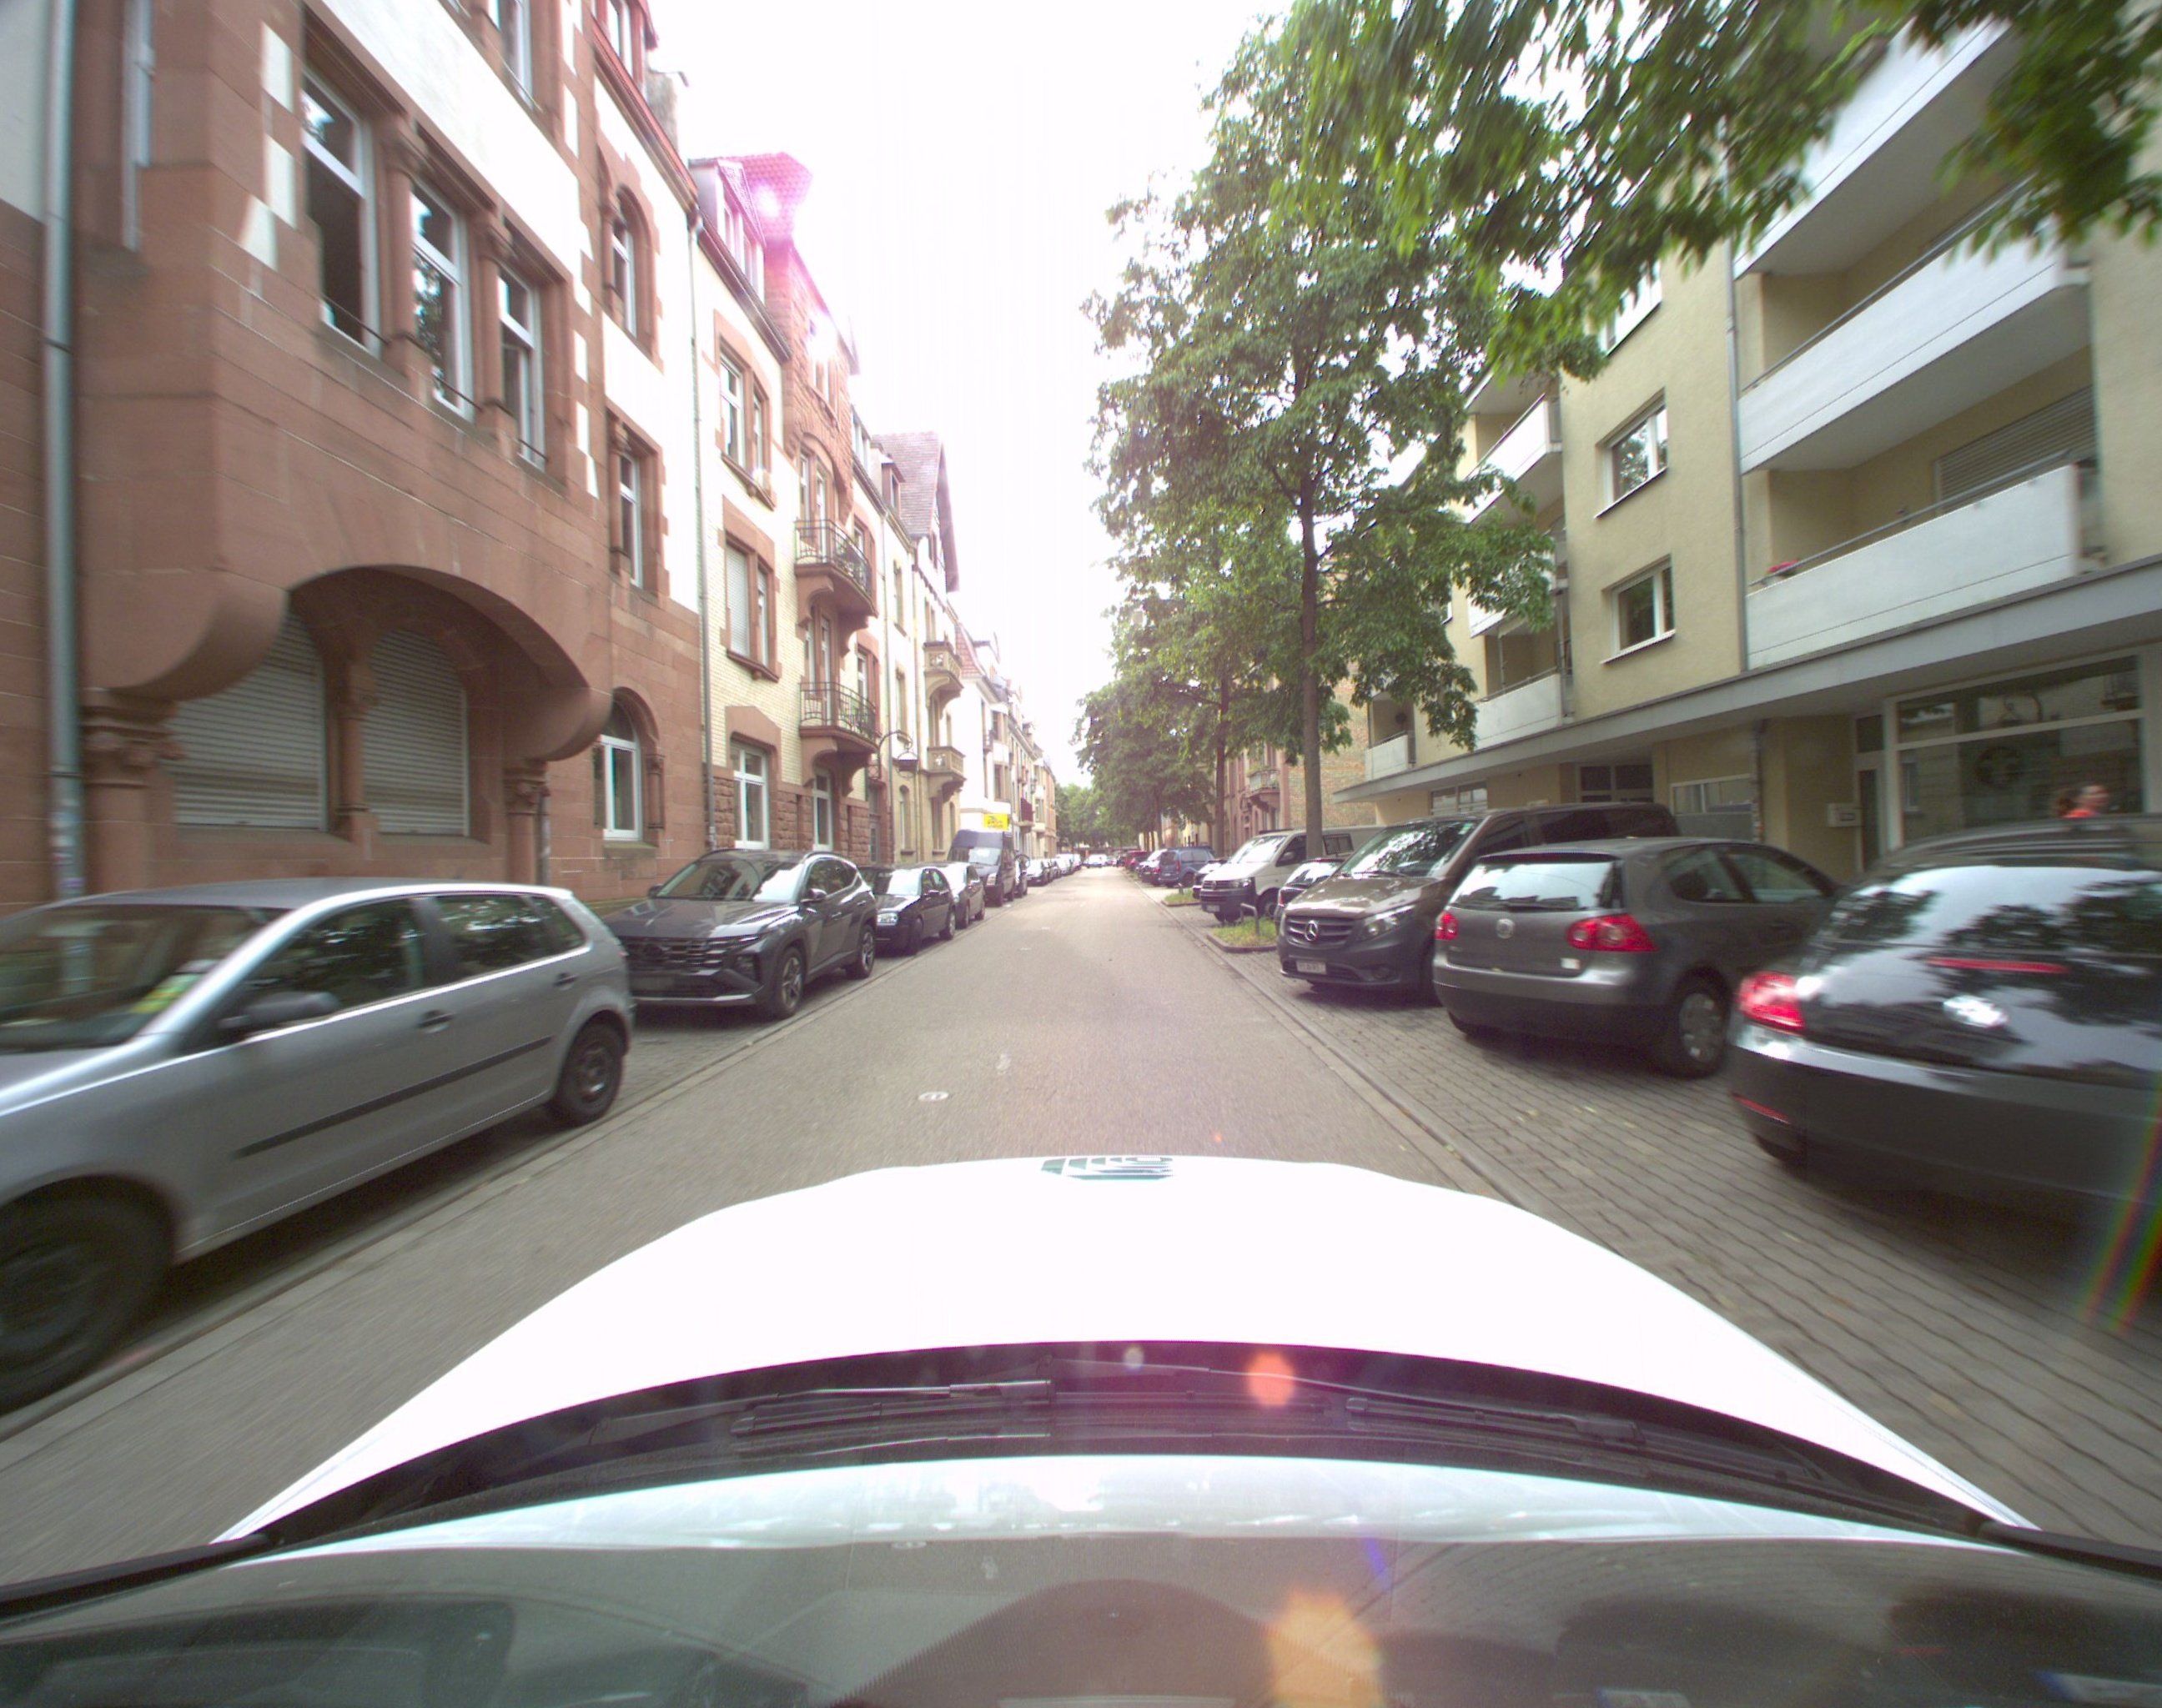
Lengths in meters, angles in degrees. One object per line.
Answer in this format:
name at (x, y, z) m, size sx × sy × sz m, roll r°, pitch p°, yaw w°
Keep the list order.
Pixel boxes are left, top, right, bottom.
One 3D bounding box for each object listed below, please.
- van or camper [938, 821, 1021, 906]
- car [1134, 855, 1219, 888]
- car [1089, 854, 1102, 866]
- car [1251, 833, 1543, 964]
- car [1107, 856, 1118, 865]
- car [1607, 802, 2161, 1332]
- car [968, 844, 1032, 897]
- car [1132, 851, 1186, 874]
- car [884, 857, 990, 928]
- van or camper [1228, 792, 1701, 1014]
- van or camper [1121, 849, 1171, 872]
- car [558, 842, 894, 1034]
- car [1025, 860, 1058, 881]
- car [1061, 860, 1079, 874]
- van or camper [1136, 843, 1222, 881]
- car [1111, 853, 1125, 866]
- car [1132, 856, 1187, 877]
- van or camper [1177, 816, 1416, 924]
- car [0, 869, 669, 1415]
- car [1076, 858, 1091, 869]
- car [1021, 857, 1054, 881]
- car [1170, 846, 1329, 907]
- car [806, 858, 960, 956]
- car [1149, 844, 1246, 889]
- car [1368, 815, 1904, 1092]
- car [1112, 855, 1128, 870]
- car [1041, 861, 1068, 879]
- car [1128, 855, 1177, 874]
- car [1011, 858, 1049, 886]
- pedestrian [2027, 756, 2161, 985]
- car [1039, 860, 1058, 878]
van or camper at (-3.401, 0.296, 28.275) m, size 2.000 × 2.651 × 5.318 m, roll 1°, pitch 0°, yaw 2°
car at (4.962, 0.890, 42.213) m, size 4.035 × 1.559 × 1.867 m, roll -1°, pitch -1°, yaw -30°
car at (2.047, 0.858, 112.411) m, size 1.814 × 1.645 × 3.754 m, roll 0°, pitch -1°, yaw 1°
car at (4.677, 0.563, 11.965) m, size 4.021 × 1.444 × 1.824 m, roll -4°, pitch 0°, yaw -30°
car at (5.390, 1.141, 140.120) m, size 1.863 × 1.530 × 4.001 m, roll -1°, pitch 0°, yaw 1°
car at (4.610, 0.526, 3.622) m, size 4.060 × 1.483 × 1.931 m, roll -3°, pitch -1°, yaw -26°
car at (-3.272, 0.656, 33.955) m, size 1.986 × 2.013 × 4.893 m, roll -1°, pitch 0°, yaw 2°
car at (5.845, 0.646, 61.330) m, size 3.753 × 1.465 × 1.727 m, roll -3°, pitch 0°, yaw -4°
car at (-3.255, 0.860, 19.183) m, size 1.661 × 1.473 × 4.001 m, roll 0°, pitch -1°, yaw 2°
van or camper at (4.404, 0.377, 9.247) m, size 5.033 × 1.869 × 2.109 m, roll -3°, pitch -1°, yaw -26°
van or camper at (6.049, 0.610, 75.782) m, size 4.169 × 2.086 × 1.936 m, roll -1°, pitch 0°, yaw -27°
car at (-3.566, 0.730, 9.208) m, size 1.779 × 1.647 × 4.363 m, roll 0°, pitch 0°, yaw 1°
car at (-2.701, 1.122, 56.377) m, size 1.940 × 1.403 × 4.001 m, roll 1°, pitch 0°, yaw 1°
car at (-1.308, 1.562, 97.507) m, size 1.779 × 1.455 × 3.889 m, roll -5°, pitch 0°, yaw 2°
van or camper at (5.829, 0.457, 48.364) m, size 4.804 × 2.138 × 2.036 m, roll -1°, pitch 0°, yaw -30°
car at (5.530, 0.814, 121.986) m, size 1.986 × 1.794 × 4.001 m, roll 0°, pitch -1°, yaw 1°
car at (5.657, 0.886, 59.044) m, size 3.702 × 1.408 × 1.573 m, roll -2°, pitch -1°, yaw -4°
van or camper at (4.730, 0.327, 17.860) m, size 4.752 × 1.994 × 1.984 m, roll -3°, pitch -2°, yaw -24°
car at (-3.724, 0.818, 3.651) m, size 1.656 × 1.421 × 3.930 m, roll 0°, pitch 0°, yaw 1°
car at (0.342, 1.151, 102.483) m, size 1.779 × 1.374 × 3.889 m, roll -1°, pitch 0°, yaw 2°
car at (-2.700, 0.948, 51.343) m, size 1.822 × 1.426 × 3.802 m, roll 1°, pitch 0°, yaw 1°
car at (4.967, 0.625, 23.833) m, size 4.328 × 1.392 × 1.905 m, roll -4°, pitch 0°, yaw -30°
car at (-3.307, 0.818, 14.375) m, size 1.628 × 1.473 × 4.002 m, roll 0°, pitch 0°, yaw 2°
car at (5.662, 0.614, 39.372) m, size 4.196 × 1.869 × 1.981 m, roll -4°, pitch -1°, yaw -28°
car at (4.396, 0.550, 6.399) m, size 3.873 × 1.502 × 1.895 m, roll -3°, pitch -1°, yaw -29°
car at (5.370, 1.189, 112.694) m, size 1.986 × 2.014 × 4.001 m, roll 1°, pitch 0°, yaw 1°
car at (-2.191, 1.326, 68.812) m, size 1.986 × 1.475 × 4.002 m, roll -1°, pitch 0°, yaw 2°
car at (5.751, 0.852, 66.004) m, size 3.753 × 1.465 × 1.727 m, roll -1°, pitch 0°, yaw -4°
car at (-2.804, 0.962, 45.322) m, size 1.783 × 1.480 × 4.023 m, roll -1°, pitch -1°, yaw 1°
pedestrian at (8.519, 0.117, 6.603) m, size 0.622 × 1.742 × 0.849 m, roll -3°, pitch -1°, yaw 2°
car at (-2.422, 1.093, 60.922) m, size 1.205 × 1.309 × 3.261 m, roll -1°, pitch 0°, yaw 1°
